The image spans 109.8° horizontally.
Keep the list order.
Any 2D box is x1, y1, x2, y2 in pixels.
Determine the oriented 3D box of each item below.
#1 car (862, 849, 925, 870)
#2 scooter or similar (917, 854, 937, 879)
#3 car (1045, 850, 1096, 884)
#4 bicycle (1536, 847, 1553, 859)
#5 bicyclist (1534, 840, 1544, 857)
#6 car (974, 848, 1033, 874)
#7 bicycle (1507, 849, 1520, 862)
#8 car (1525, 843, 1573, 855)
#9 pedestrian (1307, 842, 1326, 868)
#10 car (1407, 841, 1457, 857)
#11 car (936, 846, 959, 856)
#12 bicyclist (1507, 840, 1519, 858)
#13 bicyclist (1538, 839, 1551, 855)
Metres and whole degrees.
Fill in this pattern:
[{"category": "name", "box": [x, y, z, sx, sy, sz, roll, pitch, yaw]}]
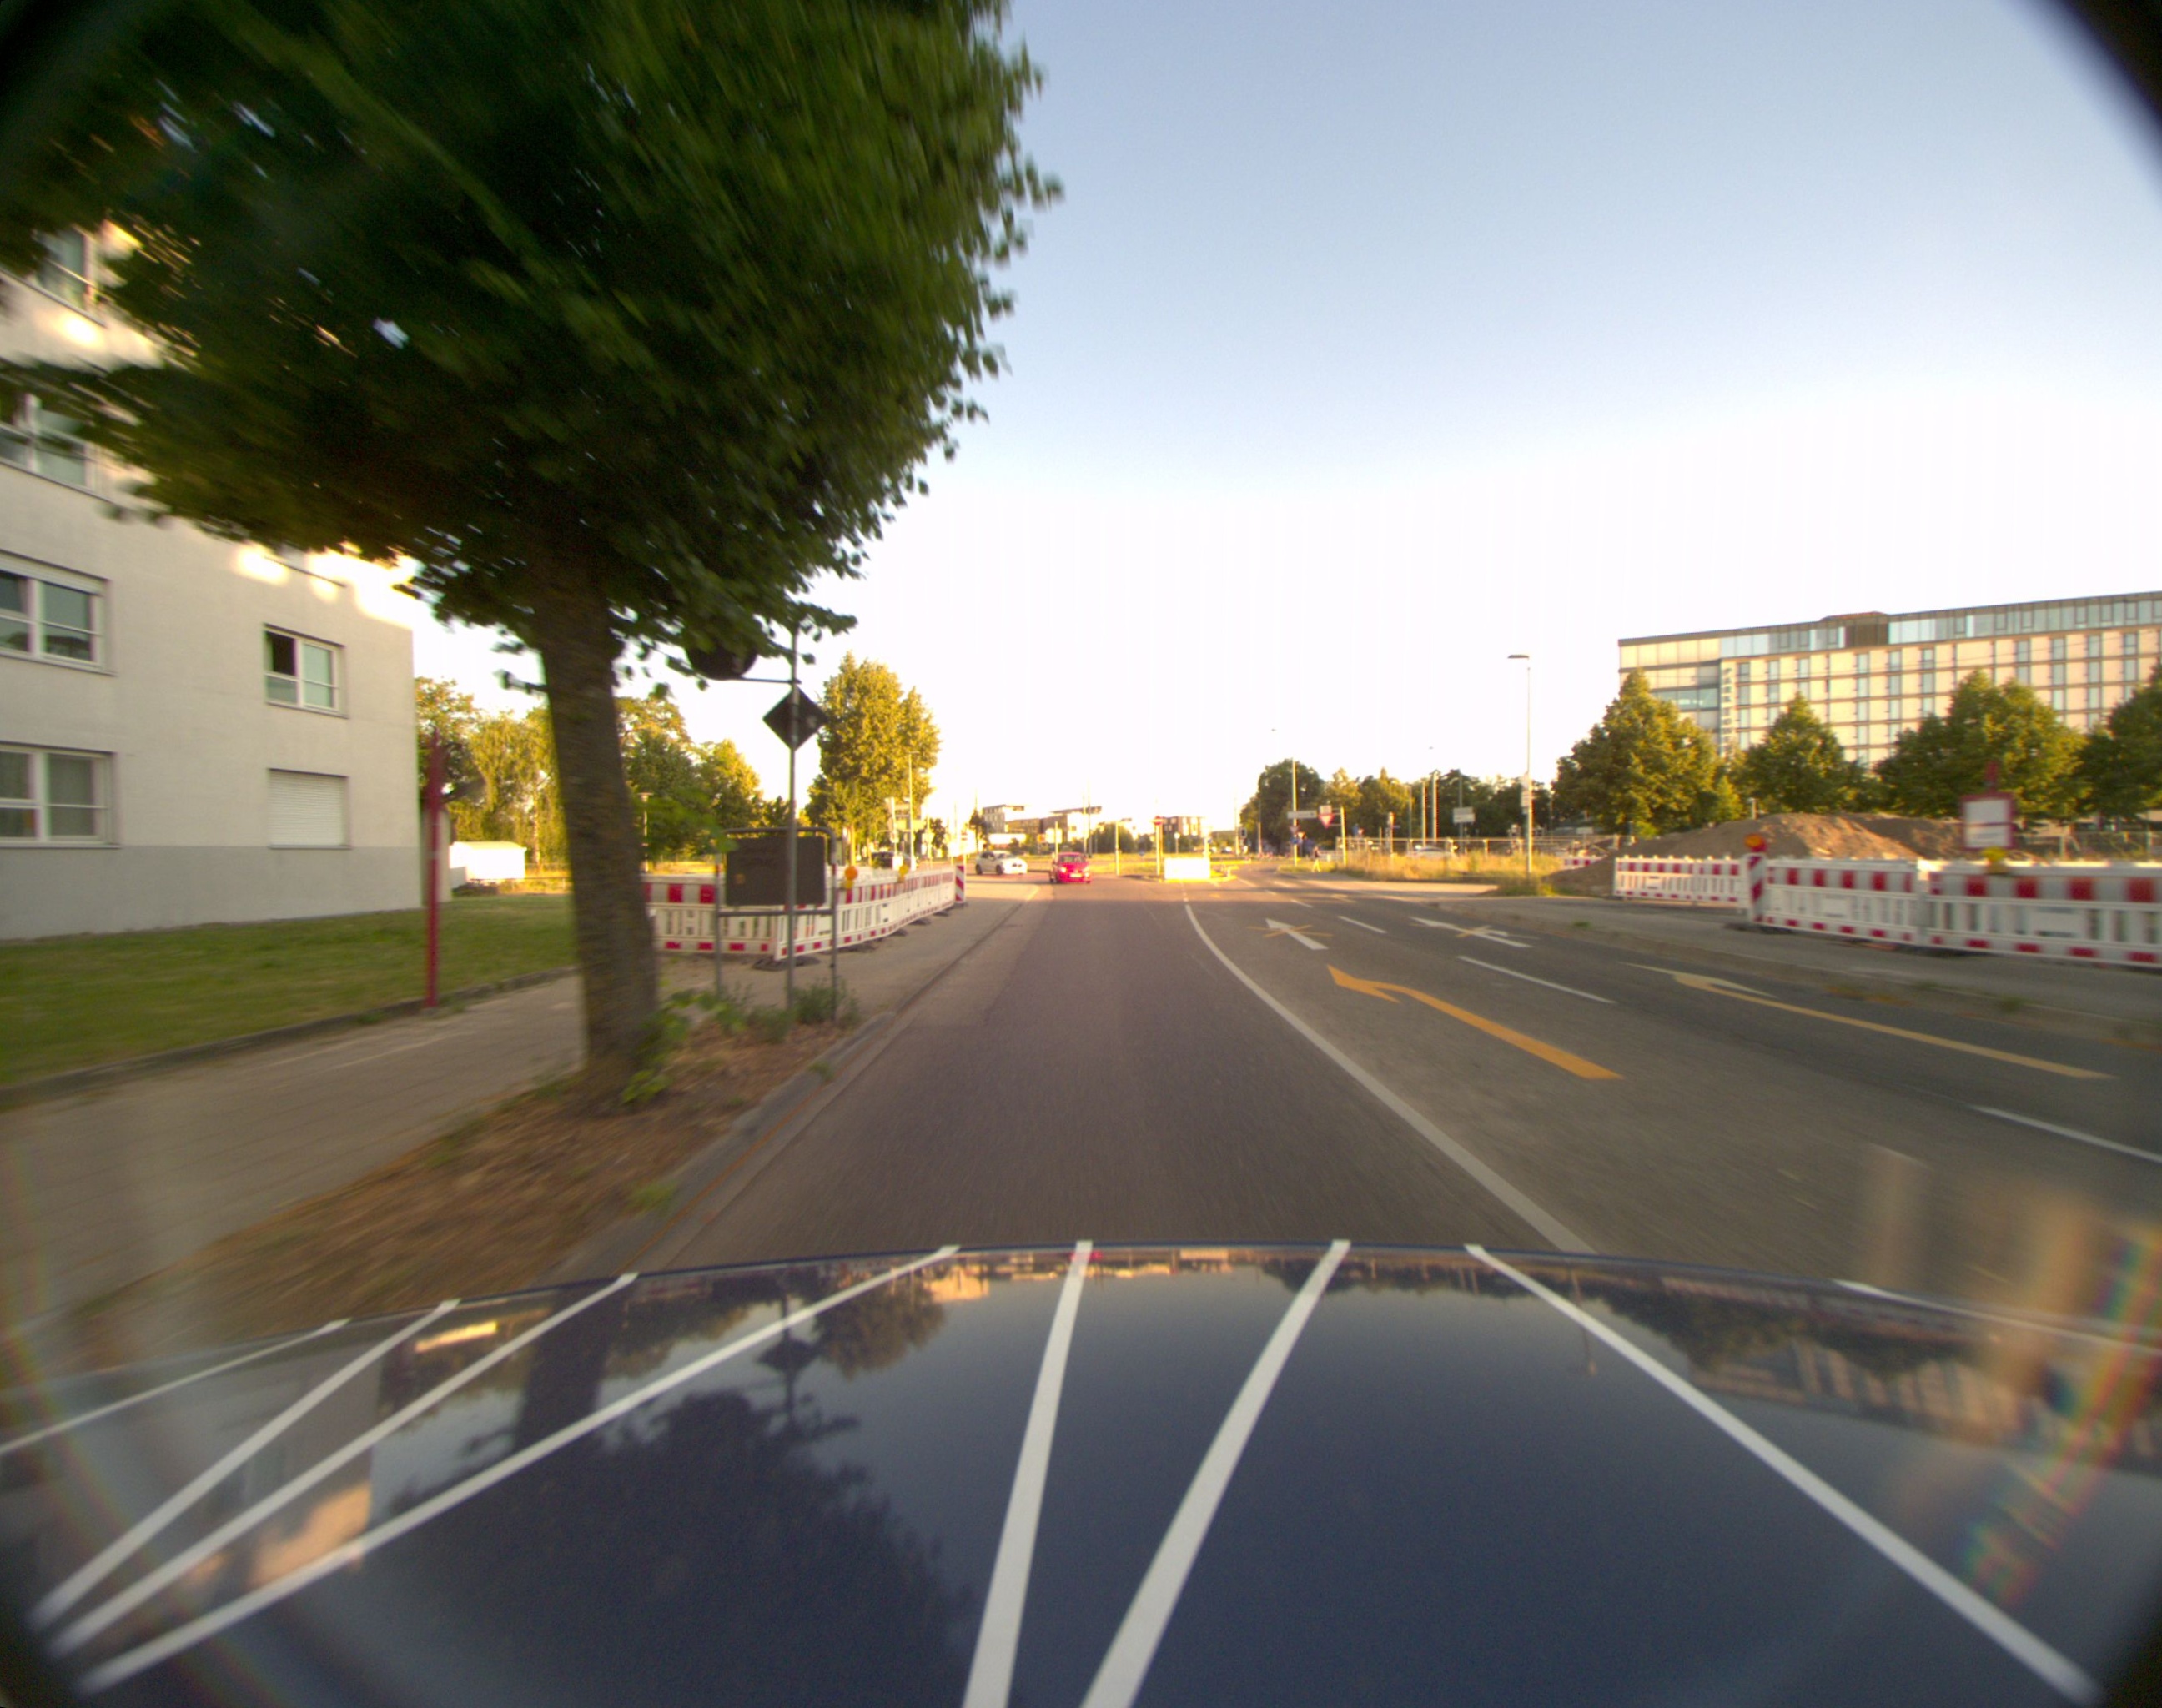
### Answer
[{"category": "car", "box": [-14.598, 0.431, 59.259, 4.400, 1.548, 1.793, -1, 2, 18]}, {"category": "scooter or similar", "box": [-8.046, 0.629, 39.746, 0.196, 1.229, 1.166, 0, 3, 35]}, {"category": "car", "box": [-0.555, 0.582, 36.442, 1.620, 1.405, 4.404, -2, 2, -11]}, {"category": "bicycle", "box": [42.365, -0.116, 69.467, 0.699, 1.038, 2.081, 0, 2, 15]}, {"category": "bicyclist", "box": [39.490, -0.497, 65.503, 0.699, 1.483, 0.975, 1, 2, 27]}, {"category": "car", "box": [-5.166, 0.412, 50.221, 1.794, 1.548, 4.397, -3, 2, -38]}, {"category": "bicycle", "box": [35.198, 0.097, 61.878, 0.699, 1.038, 2.082, 1, 2, 23]}, {"category": "car", "box": [55.347, -0.628, 89.915, 4.583, 1.414, 1.824, 0, 2, 17]}, {"category": "pedestrian", "box": [15.443, 0.091, 49.827, 0.927, 1.685, 0.786, 0, 1, -11]}, {"category": "car", "box": [32.994, -0.511, 71.546, 3.998, 1.456, 1.631, -1, 1, -4]}, {"category": "car", "box": [-16.866, -0.401, 95.883, 1.623, 1.262, 3.804, -2, 1, -29]}, {"category": "bicyclist", "box": [35.247, -0.397, 62.013, 0.699, 1.483, 0.975, 1, 2, 23]}, {"category": "bicyclist", "box": [42.367, -0.649, 69.463, 0.699, 1.483, 0.975, 0, 2, 15]}]
